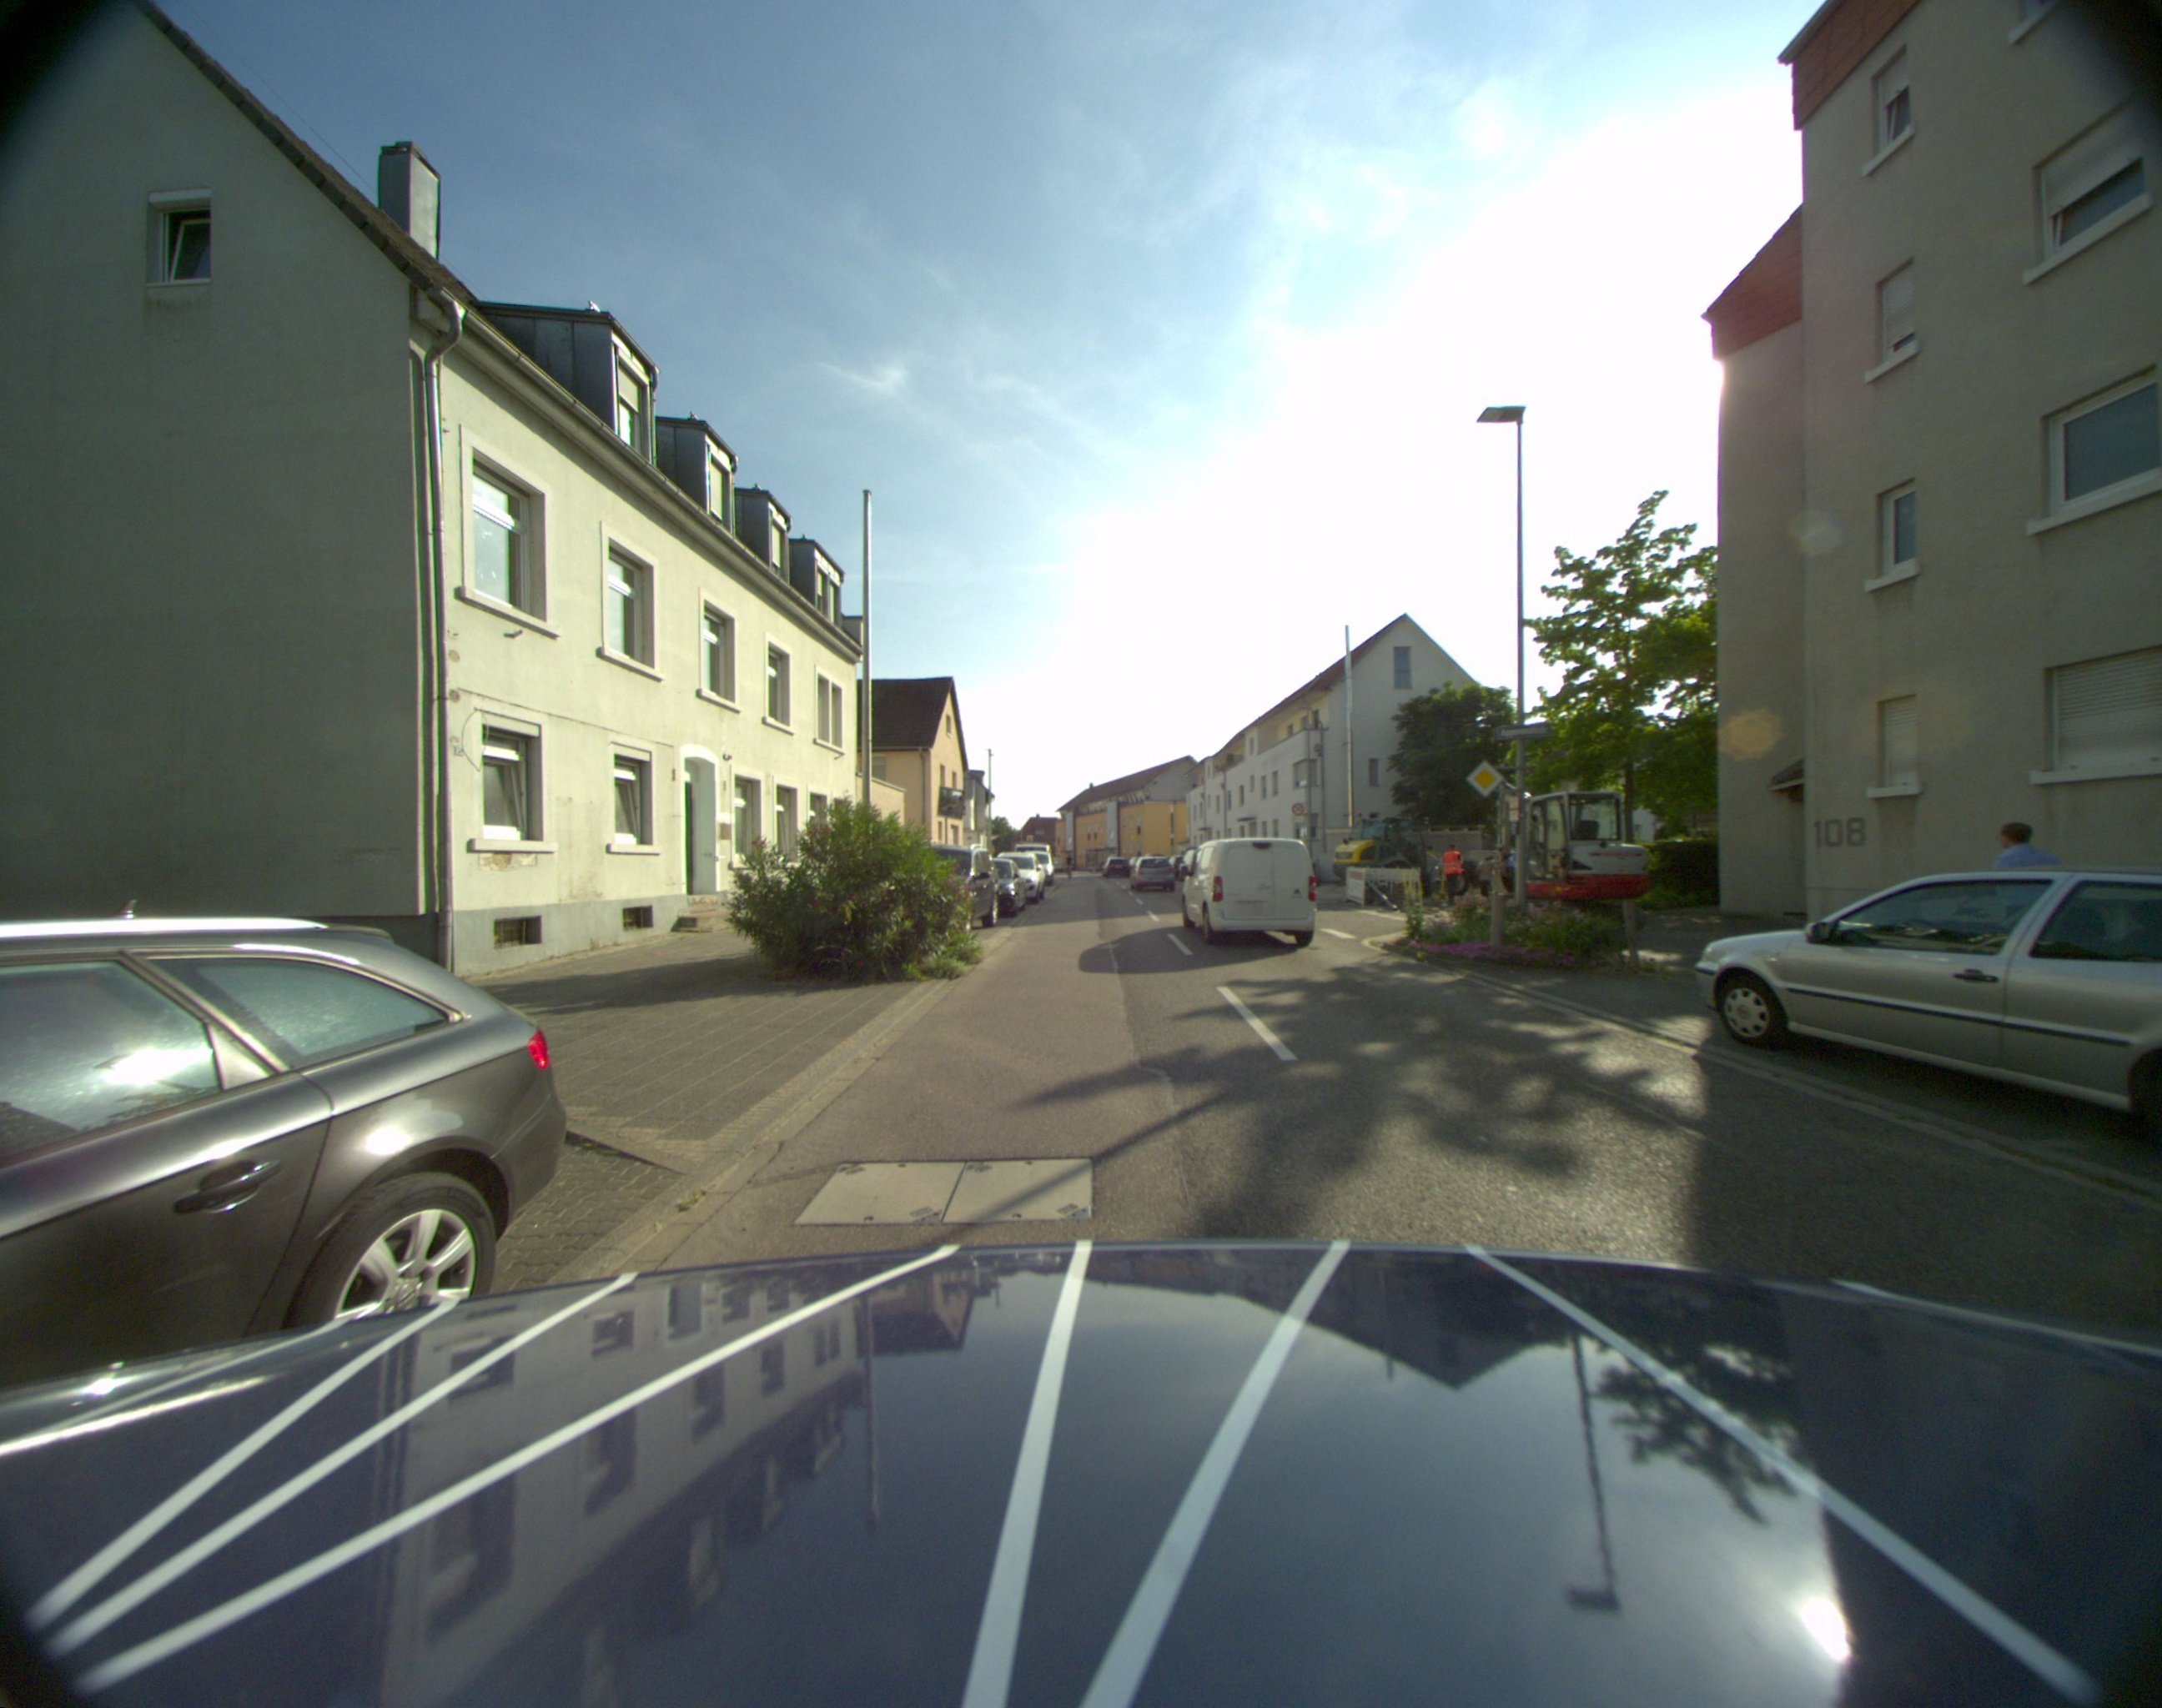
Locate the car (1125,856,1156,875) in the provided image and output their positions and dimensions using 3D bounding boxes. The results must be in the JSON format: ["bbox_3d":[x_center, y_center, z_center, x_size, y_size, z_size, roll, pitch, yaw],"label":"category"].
[{"bbox_3d":[4.910,0.988,63.428,1.732,1.469,4.501,-2,-1,-6],"label":"car"}]

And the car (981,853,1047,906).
[{"bbox_3d":[-2.215,0.809,26.327,1.816,1.674,4.477,1,0,1],"label":"car"}]

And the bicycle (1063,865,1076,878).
[{"bbox_3d":[-0.810,1.182,52.932,0.680,0.849,2.025,-1,0,-7],"label":"bicycle"}]

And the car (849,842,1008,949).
[{"bbox_3d":[-2.915,0.751,15.687,2.080,1.845,4.612,1,-1,4],"label":"car"}]

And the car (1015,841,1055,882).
[{"bbox_3d":[-2.710,0.433,45.521,2.180,2.313,4.997,1,0,-1],"label":"car"}]

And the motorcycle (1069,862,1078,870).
[{"bbox_3d":[-1.066,1.726,108.170,0.584,1.175,1.875,-1,0,-19],"label":"motorcycle"}]

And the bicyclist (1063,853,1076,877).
[{"bbox_3d":[-0.808,0.749,53.085,0.845,1.679,0.877,-1,1,-6],"label":"bicyclist"}]

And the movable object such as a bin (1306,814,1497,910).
[{"bbox_3d":[10.529,0.229,25.146,5.516,2.883,2.110,-2,0,-11],"label":"movable object such as a bin"}]

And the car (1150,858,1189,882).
[{"bbox_3d":[6.061,1.077,52.563,1.732,1.469,4.261,-3,0,-6],"label":"car"}]

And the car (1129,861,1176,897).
[{"bbox_3d":[3.031,1.043,32.792,1.622,1.446,3.685,0,0,-1],"label":"car"}]

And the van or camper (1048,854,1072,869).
[{"bbox_3d":[-2.865,1.023,101.663,2.001,1.991,4.914,-1,0,-17],"label":"van or camper"}]

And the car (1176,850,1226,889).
[{"bbox_3d":[6.508,0.837,41.776,1.732,1.949,4.437,-1,0,-4],"label":"car"}]

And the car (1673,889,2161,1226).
[{"bbox_3d":[5.777,1.002,4.503,1.644,1.387,3.671,-1,0,0],"label":"car"}]

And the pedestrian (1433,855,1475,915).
[{"bbox_3d":[10.514,0.858,21.432,0.669,1.654,0.993,-2,0,2],"label":"pedestrian"}]

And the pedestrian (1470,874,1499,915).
[{"bbox_3d":[11.337,1.130,21.367,0.500,1.093,0.597,-2,0,2],"label":"pedestrian"}]

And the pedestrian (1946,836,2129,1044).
[{"bbox_3d":[8.809,0.756,7.034,0.720,1.808,0.745,-1,0,2],"label":"pedestrian"}]

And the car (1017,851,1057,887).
[{"bbox_3d":[-2.204,0.737,39.226,1.782,1.731,4.483,2,0,0],"label":"car"}]

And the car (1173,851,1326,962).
[{"bbox_3d":[2.958,0.842,14.312,1.927,1.756,4.338,1,0,0],"label":"car"}]

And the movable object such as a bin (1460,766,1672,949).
[{"bbox_3d":[9.281,0.081,14.965,1.652,3.119,3.900,0,0,0],"label":"movable object such as a bin"}]

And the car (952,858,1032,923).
[{"bbox_3d":[-2.351,0.916,21.095,1.593,1.519,4.613,1,0,1],"label":"car"}]

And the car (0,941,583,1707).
[{"bbox_3d":[-2.776,1.034,0.585,1.784,1.412,4.496,-1,0,0],"label":"car"}]

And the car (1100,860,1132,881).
[{"bbox_3d":[2.452,1.127,54.198,1.835,1.412,4.208,0,0,-3],"label":"car"}]

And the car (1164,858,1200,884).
[{"bbox_3d":[6.134,0.997,46.369,1.497,1.456,3.513,-2,0,-3],"label":"car"}]

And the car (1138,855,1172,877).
[{"bbox_3d":[5.656,0.914,58.490,1.732,1.612,4.261,-1,0,-6],"label":"car"}]
